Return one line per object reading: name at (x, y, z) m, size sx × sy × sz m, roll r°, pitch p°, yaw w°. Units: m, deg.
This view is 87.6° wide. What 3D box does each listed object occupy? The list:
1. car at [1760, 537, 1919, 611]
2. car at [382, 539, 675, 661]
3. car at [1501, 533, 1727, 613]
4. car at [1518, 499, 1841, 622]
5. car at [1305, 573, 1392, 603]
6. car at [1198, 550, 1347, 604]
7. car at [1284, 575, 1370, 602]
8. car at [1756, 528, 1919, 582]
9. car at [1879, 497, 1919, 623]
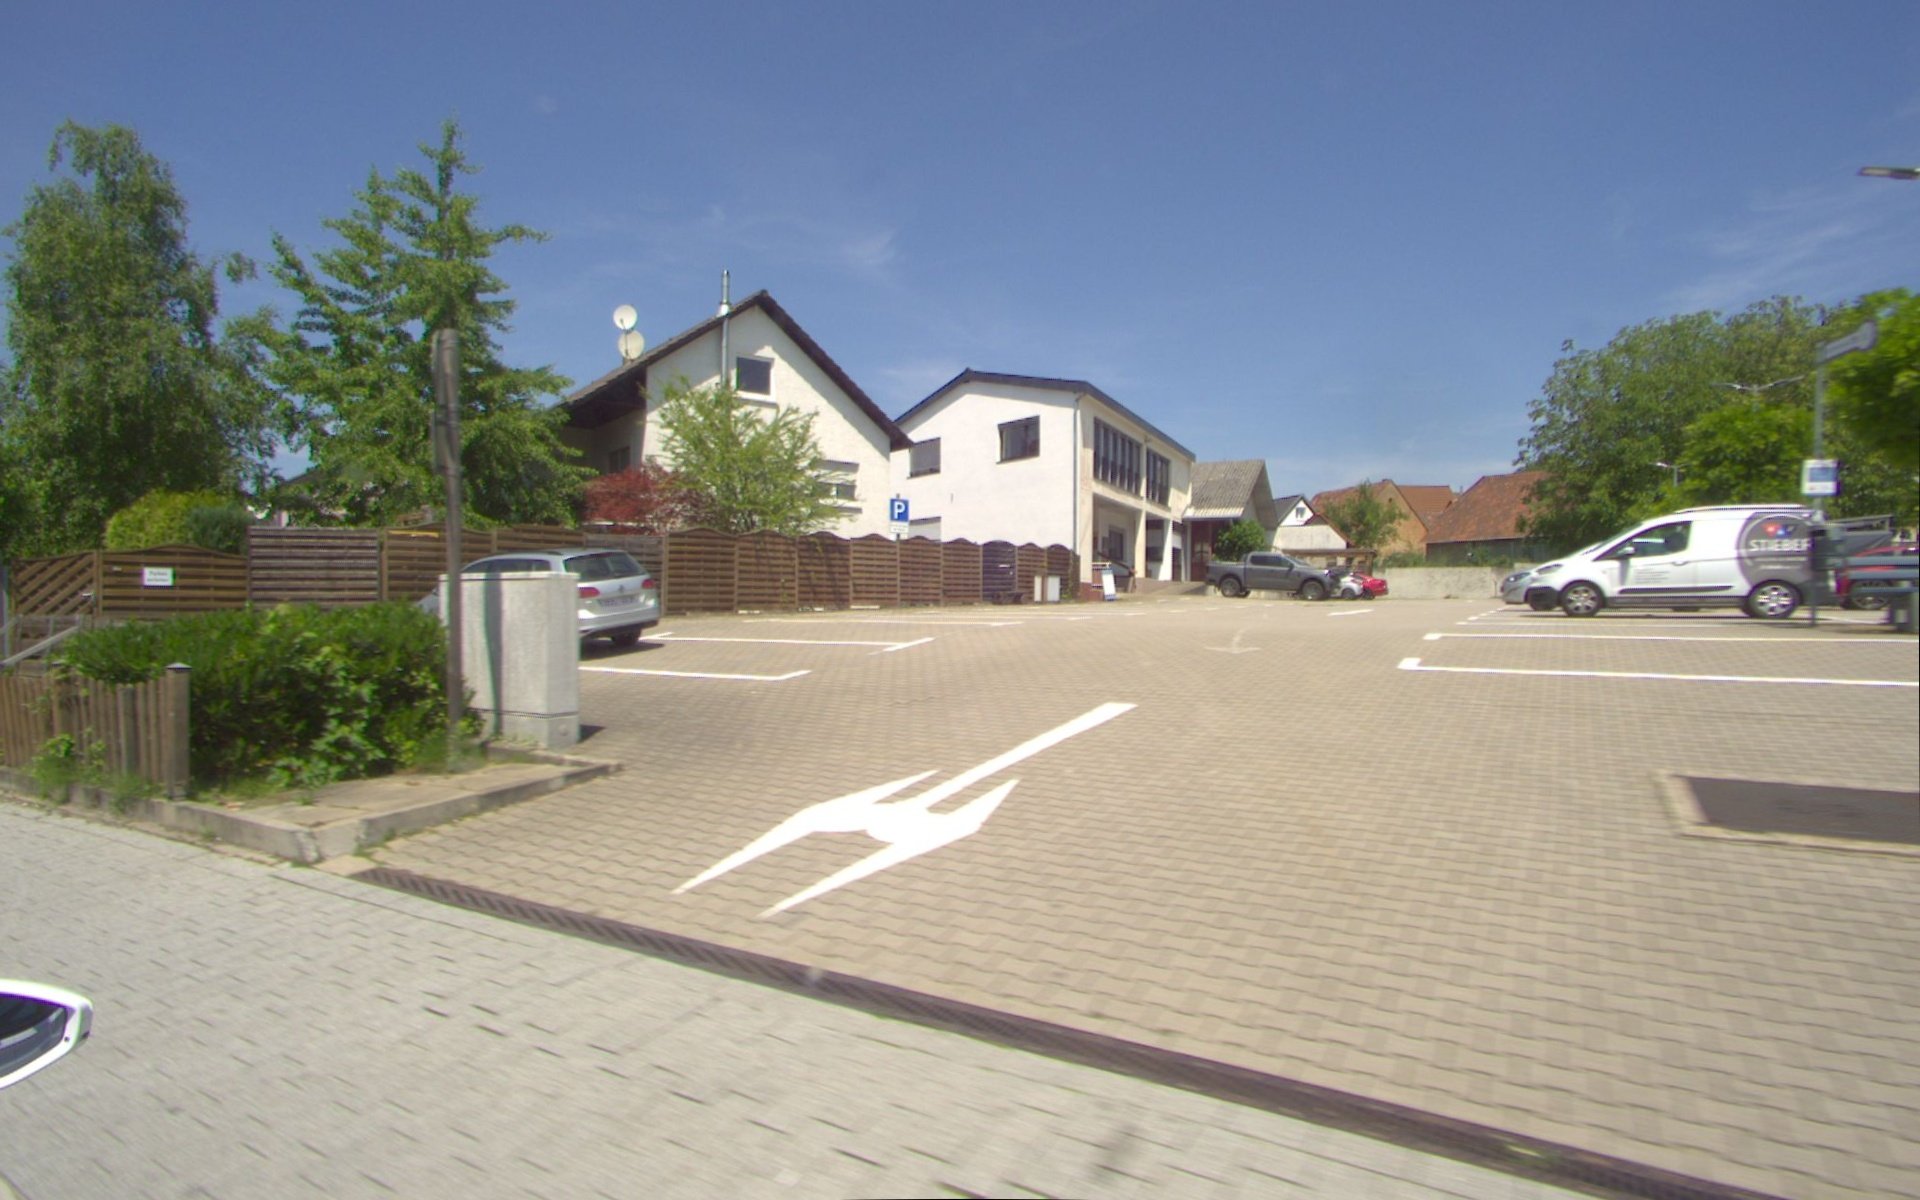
car at (18.894, -0.540, 20.438) m, size 3.826 × 1.433 × 1.636 m, roll -1°, pitch 3°, yaw 32°
car at (-6.379, -0.022, 14.655) m, size 4.438 × 1.485 × 1.624 m, roll -1°, pitch 6°, yaw 32°
car at (13.503, -0.539, 20.925) m, size 3.824 × 1.530 × 1.615 m, roll -1°, pitch 3°, yaw 31°
car at (11.479, -0.592, 16.358) m, size 4.069 × 1.771 × 1.903 m, roll -1°, pitch 3°, yaw 32°
car at (20.410, -0.606, 52.636) m, size 4.030 × 1.432 × 1.637 m, roll -1°, pitch -1°, yaw 32°
car at (12.531, -0.912, 40.279) m, size 5.353 × 1.976 × 2.131 m, roll -1°, pitch 3°, yaw 32°
car at (18.571, -0.587, 50.733) m, size 3.862 × 1.274 × 1.597 m, roll -1°, pitch 2°, yaw 32°
car at (25.784, -1.298, 29.048) m, size 4.030 × 1.433 × 1.636 m, roll -1°, pitch 3°, yaw 32°
car at (15.753, -0.622, 13.908) m, size 4.069 × 1.771 × 1.903 m, roll -1°, pitch 3°, yaw 32°
